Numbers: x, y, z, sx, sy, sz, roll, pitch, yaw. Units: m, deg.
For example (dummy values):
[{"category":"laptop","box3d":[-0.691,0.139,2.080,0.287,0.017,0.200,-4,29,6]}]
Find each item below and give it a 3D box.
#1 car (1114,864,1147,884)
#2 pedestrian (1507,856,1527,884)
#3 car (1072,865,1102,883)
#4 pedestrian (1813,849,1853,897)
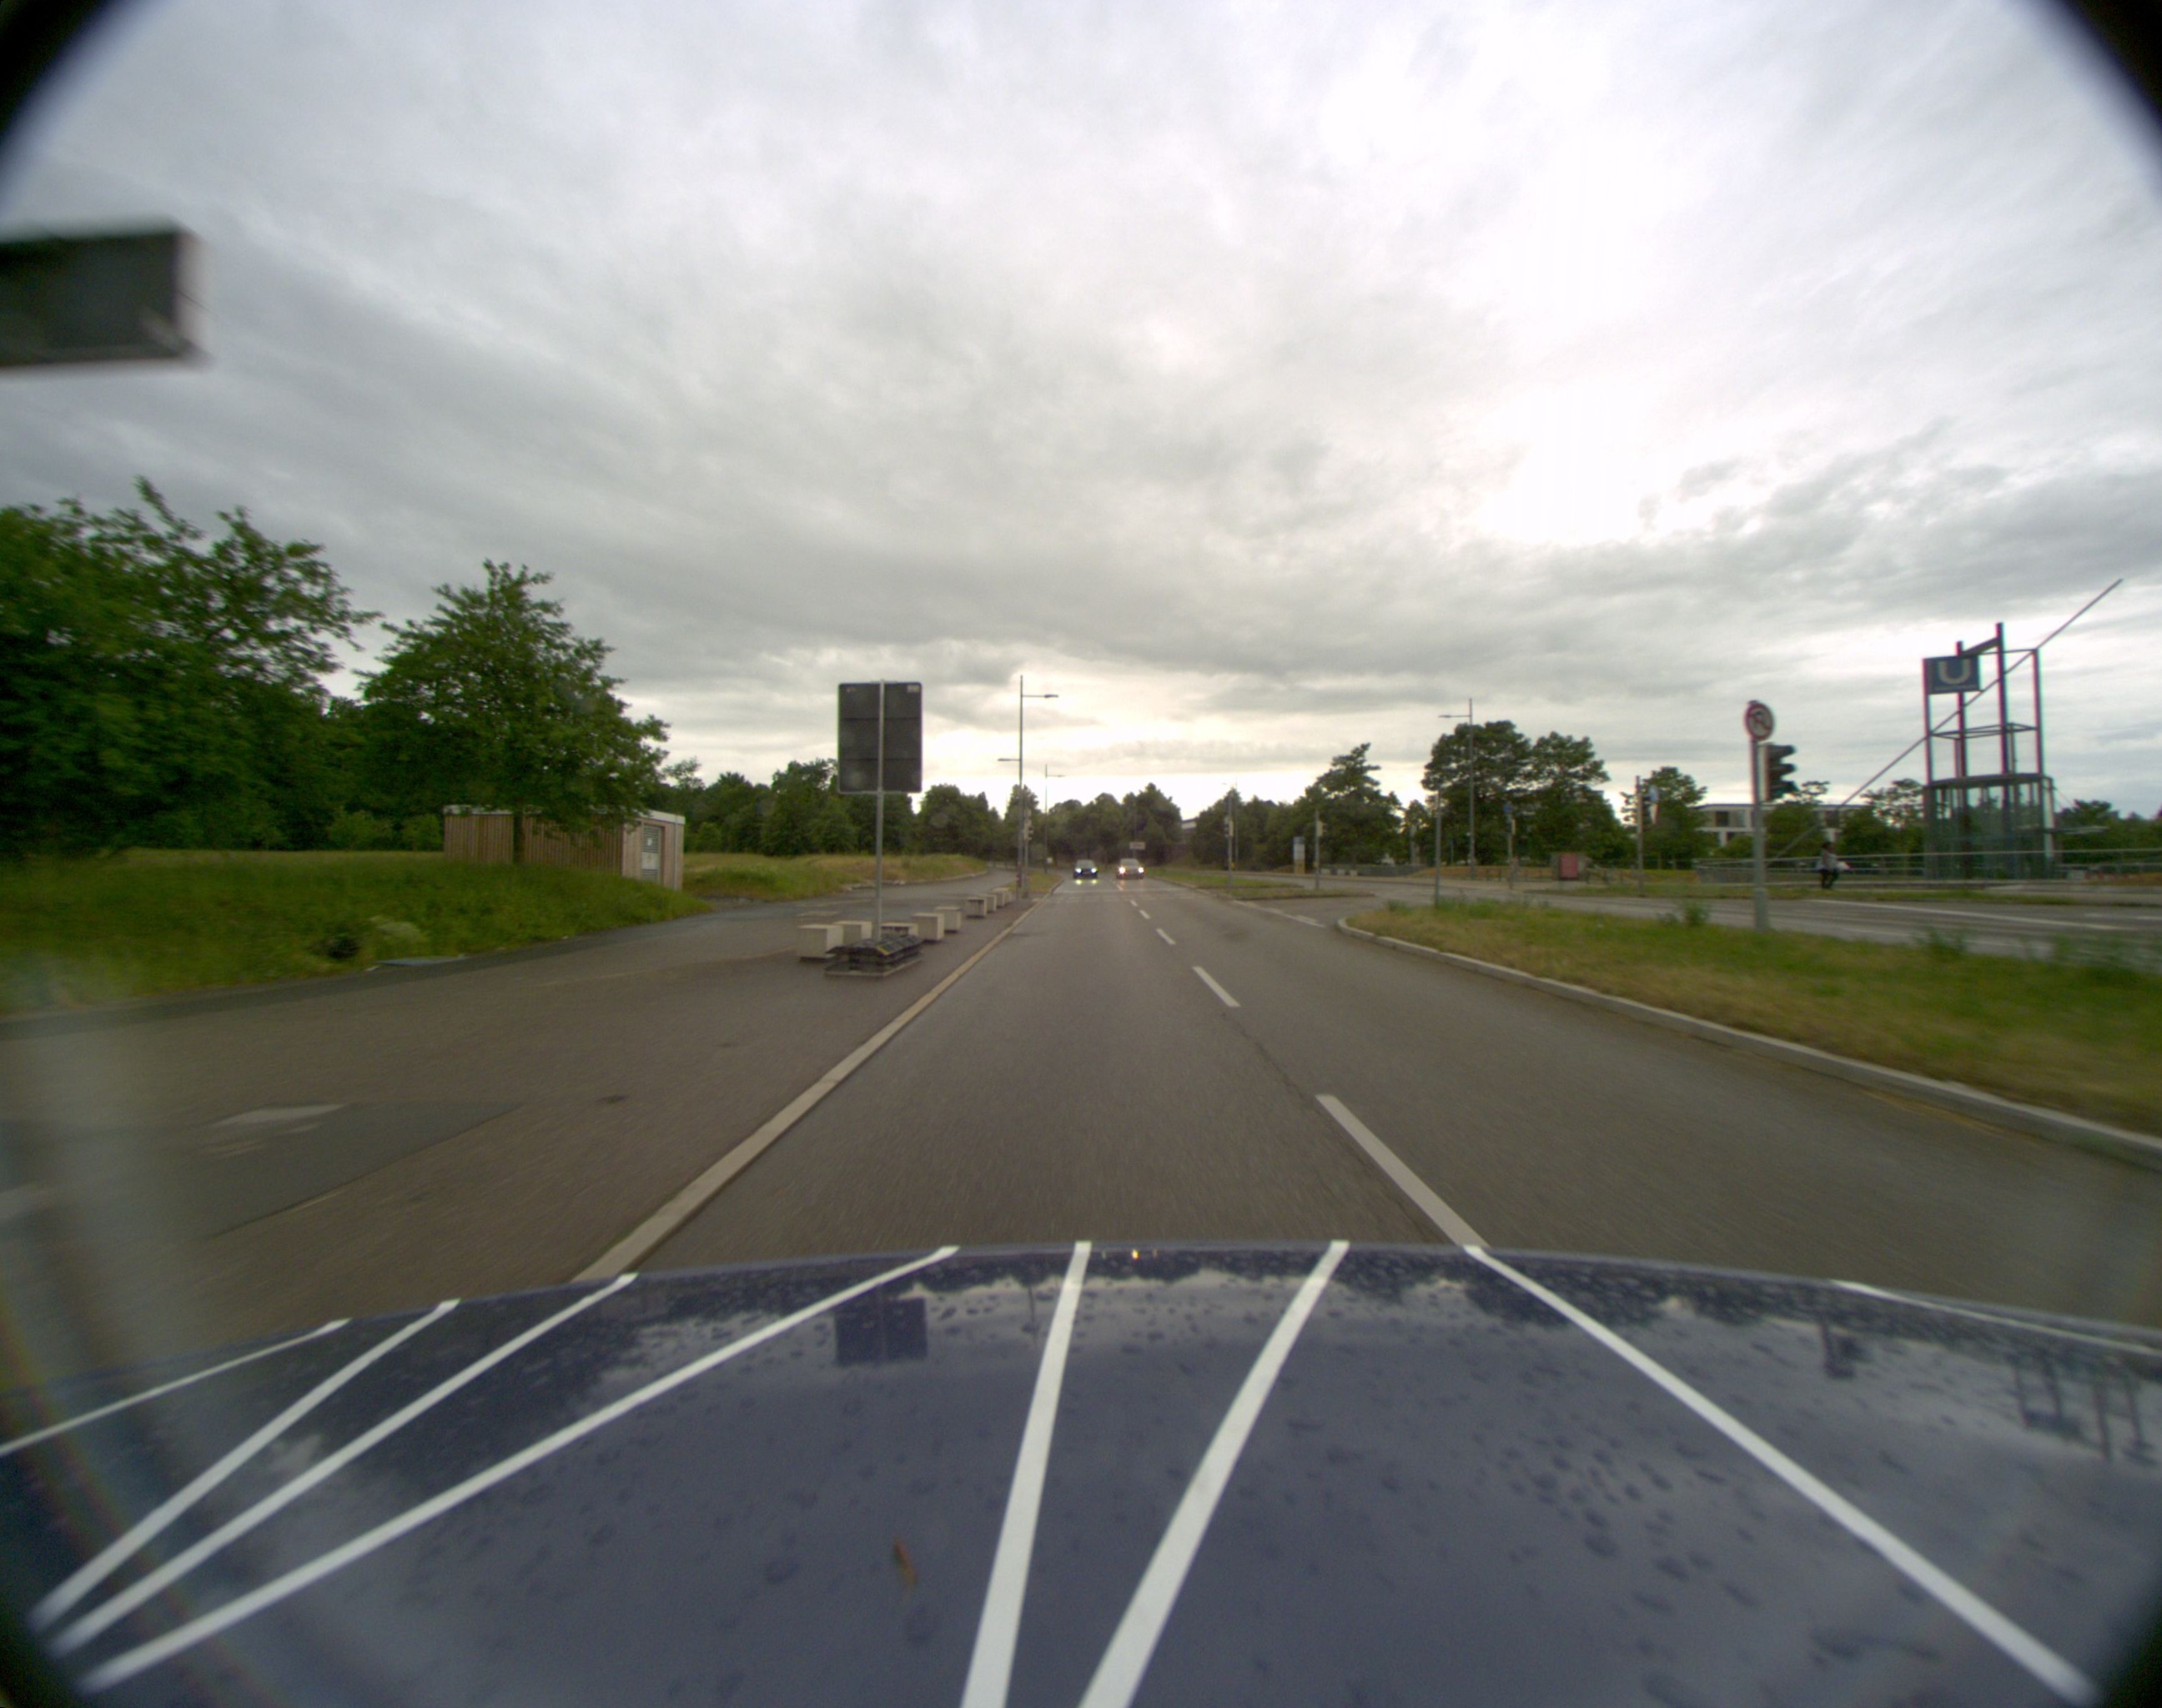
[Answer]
[{"category":"car","box3d":[3.612,1.481,56.313,1.811,1.421,4.196,-1,-1,-5]},{"category":"pedestrian","box3d":[25.275,0.919,44.058,0.616,1.584,0.813,-1,-2,-4]},{"category":"car","box3d":[0.437,1.599,59.818,1.990,1.390,4.176,0,-2,-4]},{"category":"pedestrian","box3d":[25.079,0.638,25.350,0.823,1.584,0.672,0,-2,-26]}]
